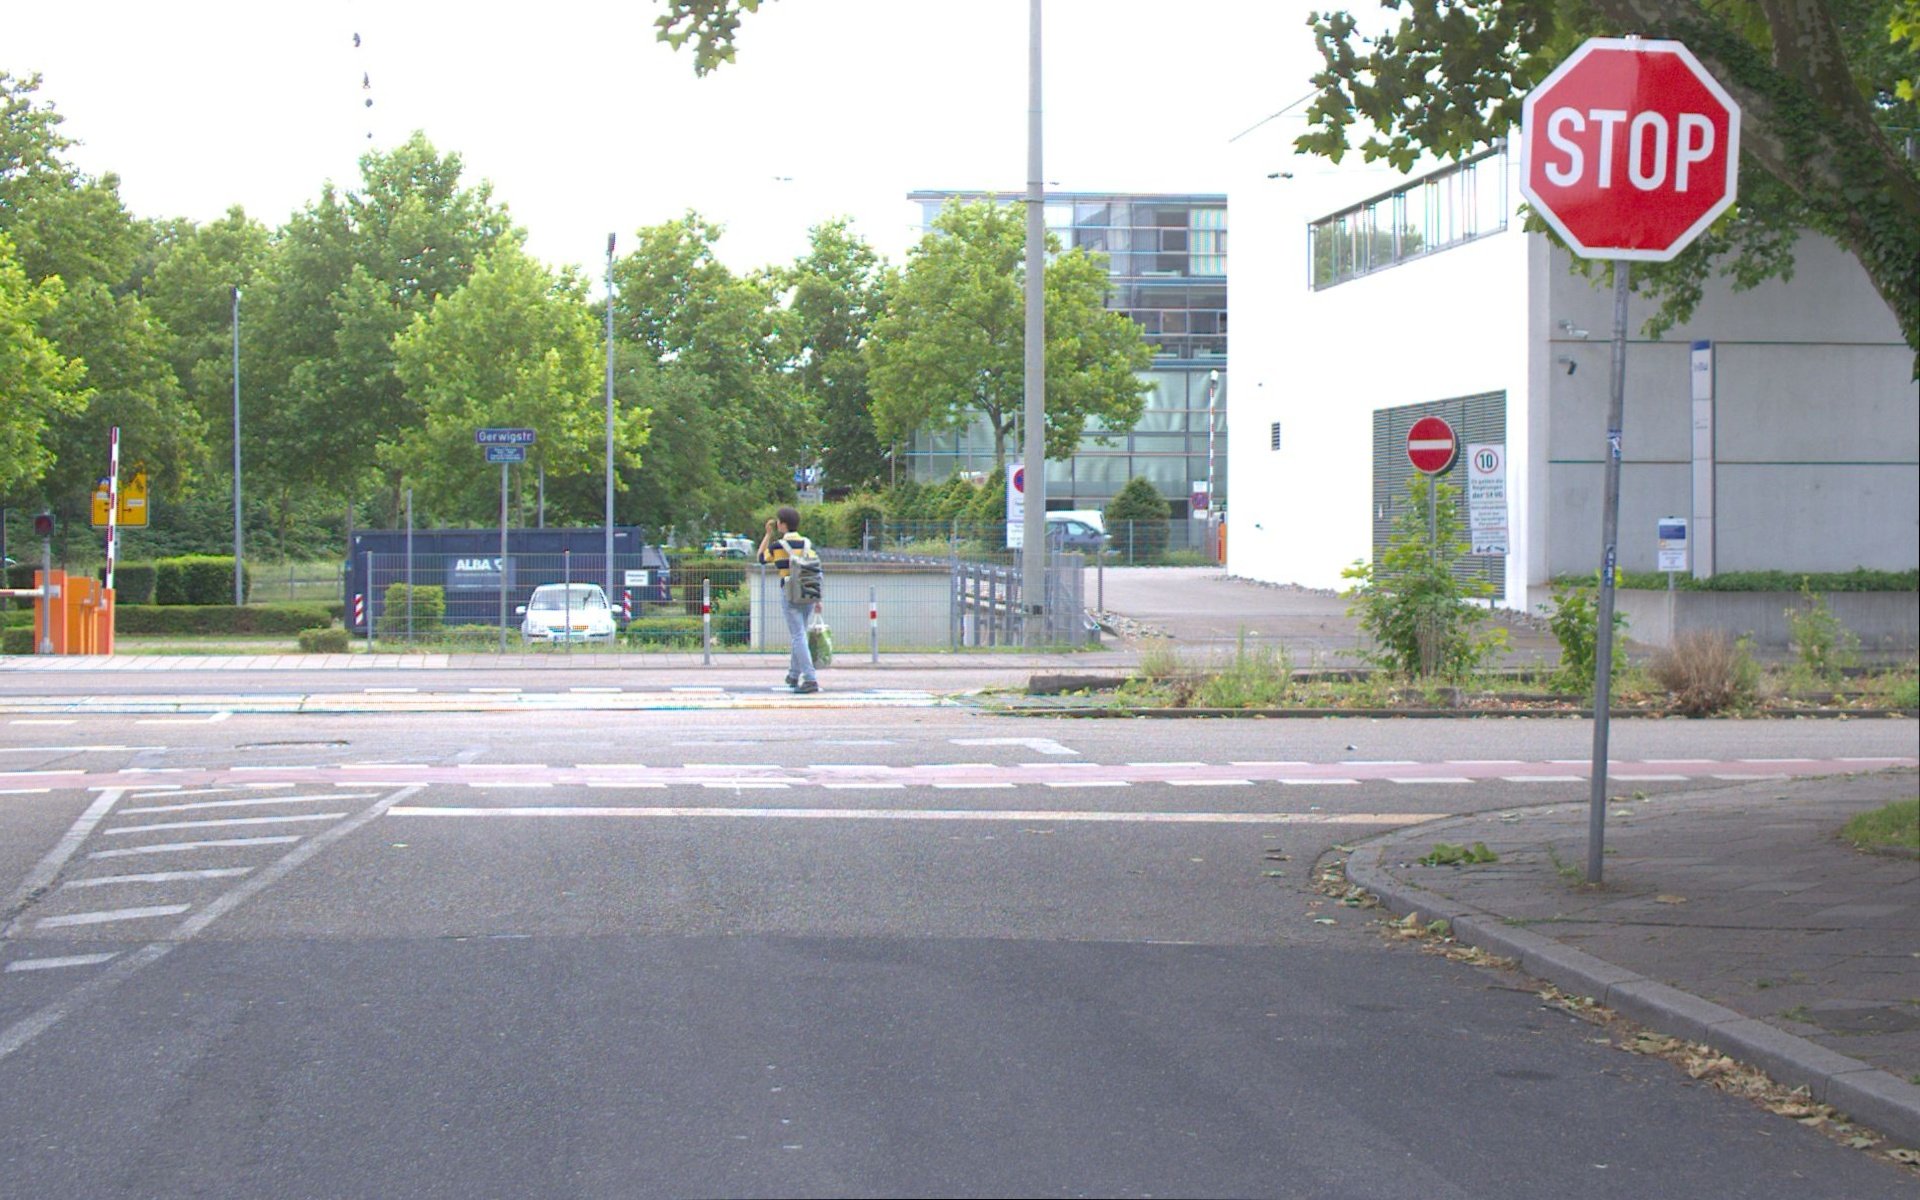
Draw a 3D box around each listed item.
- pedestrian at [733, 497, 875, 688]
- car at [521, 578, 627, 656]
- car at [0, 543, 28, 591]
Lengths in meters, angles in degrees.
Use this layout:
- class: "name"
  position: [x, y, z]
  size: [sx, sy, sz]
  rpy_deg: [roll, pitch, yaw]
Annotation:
- class: "pedestrian"
  position: [-1.547, -0.081, 33.900]
  size: [1.000, 1.843, 1.229]
  rpy_deg: [0, 1, -24]
- class: "car"
  position: [-7.267, 0.298, 64.996]
  size: [1.930, 1.398, 4.082]
  rpy_deg: [0, 1, -6]
- class: "car"
  position: [-35.421, -1.168, 122.544]
  size: [1.917, 1.715, 4.294]
  rpy_deg: [1, 1, 26]
